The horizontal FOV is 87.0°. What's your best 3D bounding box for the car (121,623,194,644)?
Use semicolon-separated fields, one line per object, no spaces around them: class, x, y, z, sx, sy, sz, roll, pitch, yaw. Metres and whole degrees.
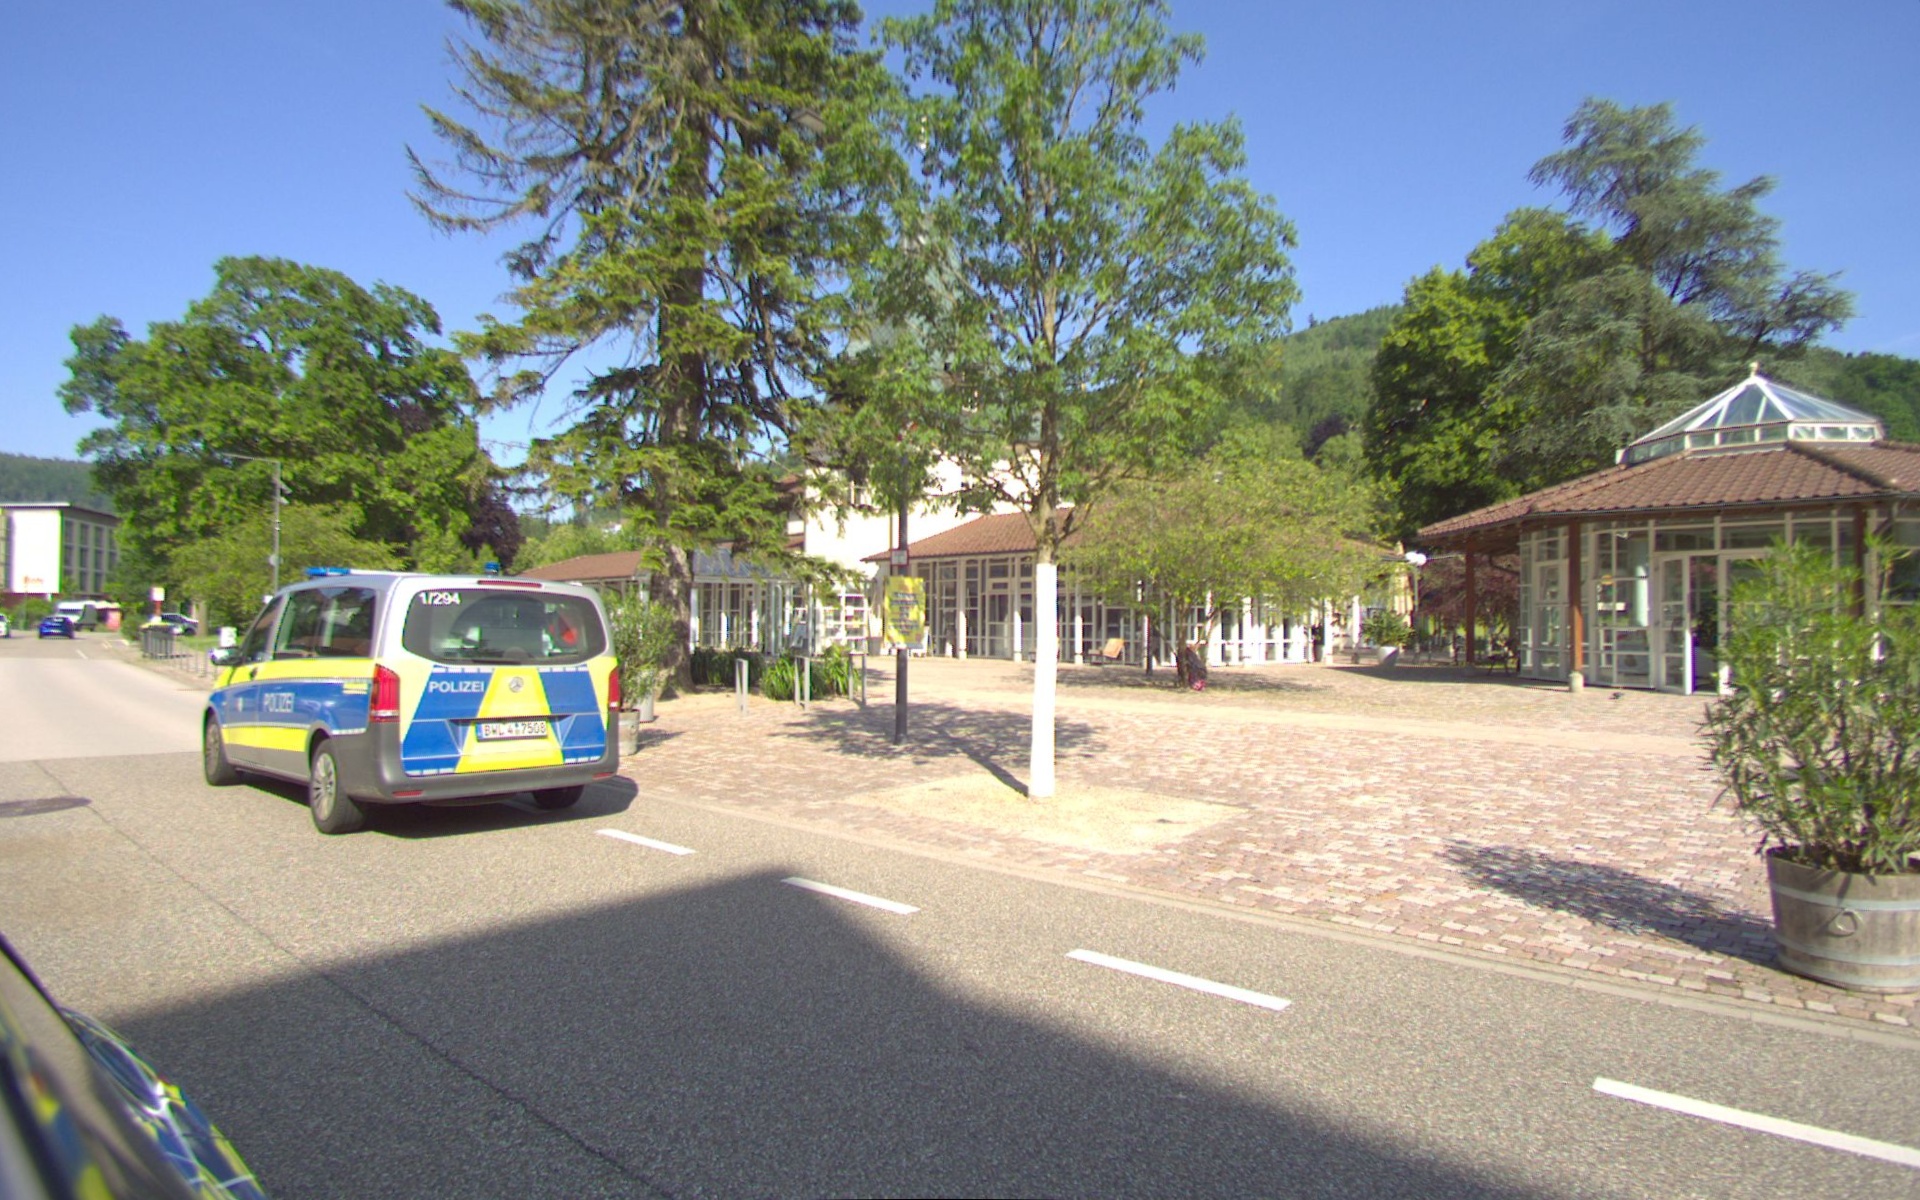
car;-61.655;2.555;77.826;1.713;1.442;4.228;-1;0;44

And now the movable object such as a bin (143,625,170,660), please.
movable object such as a bin;-31.997;1.691;40.285;0.746;1.352;1.296;-1;-1;-43

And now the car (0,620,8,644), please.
car;-61.449;2.049;64.006;1.630;1.482;4.005;0;-1;-41

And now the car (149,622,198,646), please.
car;-54.918;2.364;70.697;2.615;1.558;1.687;-1;0;-34

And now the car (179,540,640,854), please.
car;-4.956;0.682;8.723;5.015;1.968;1.835;-1;-3;41

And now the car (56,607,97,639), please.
car;-81.484;2.093;93.420;1.759;2.812;5.931;0;-1;-30

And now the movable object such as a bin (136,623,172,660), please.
movable object such as a bin;-33.260;1.695;41.754;1.066;1.438;1.378;-1;-1;-43

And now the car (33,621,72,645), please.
car;-59.667;2.129;66.531;1.721;1.474;4.190;2;-1;-44

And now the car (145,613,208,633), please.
car;-71.228;2.083;92.070;4.424;1.676;1.814;-1;0;-38
